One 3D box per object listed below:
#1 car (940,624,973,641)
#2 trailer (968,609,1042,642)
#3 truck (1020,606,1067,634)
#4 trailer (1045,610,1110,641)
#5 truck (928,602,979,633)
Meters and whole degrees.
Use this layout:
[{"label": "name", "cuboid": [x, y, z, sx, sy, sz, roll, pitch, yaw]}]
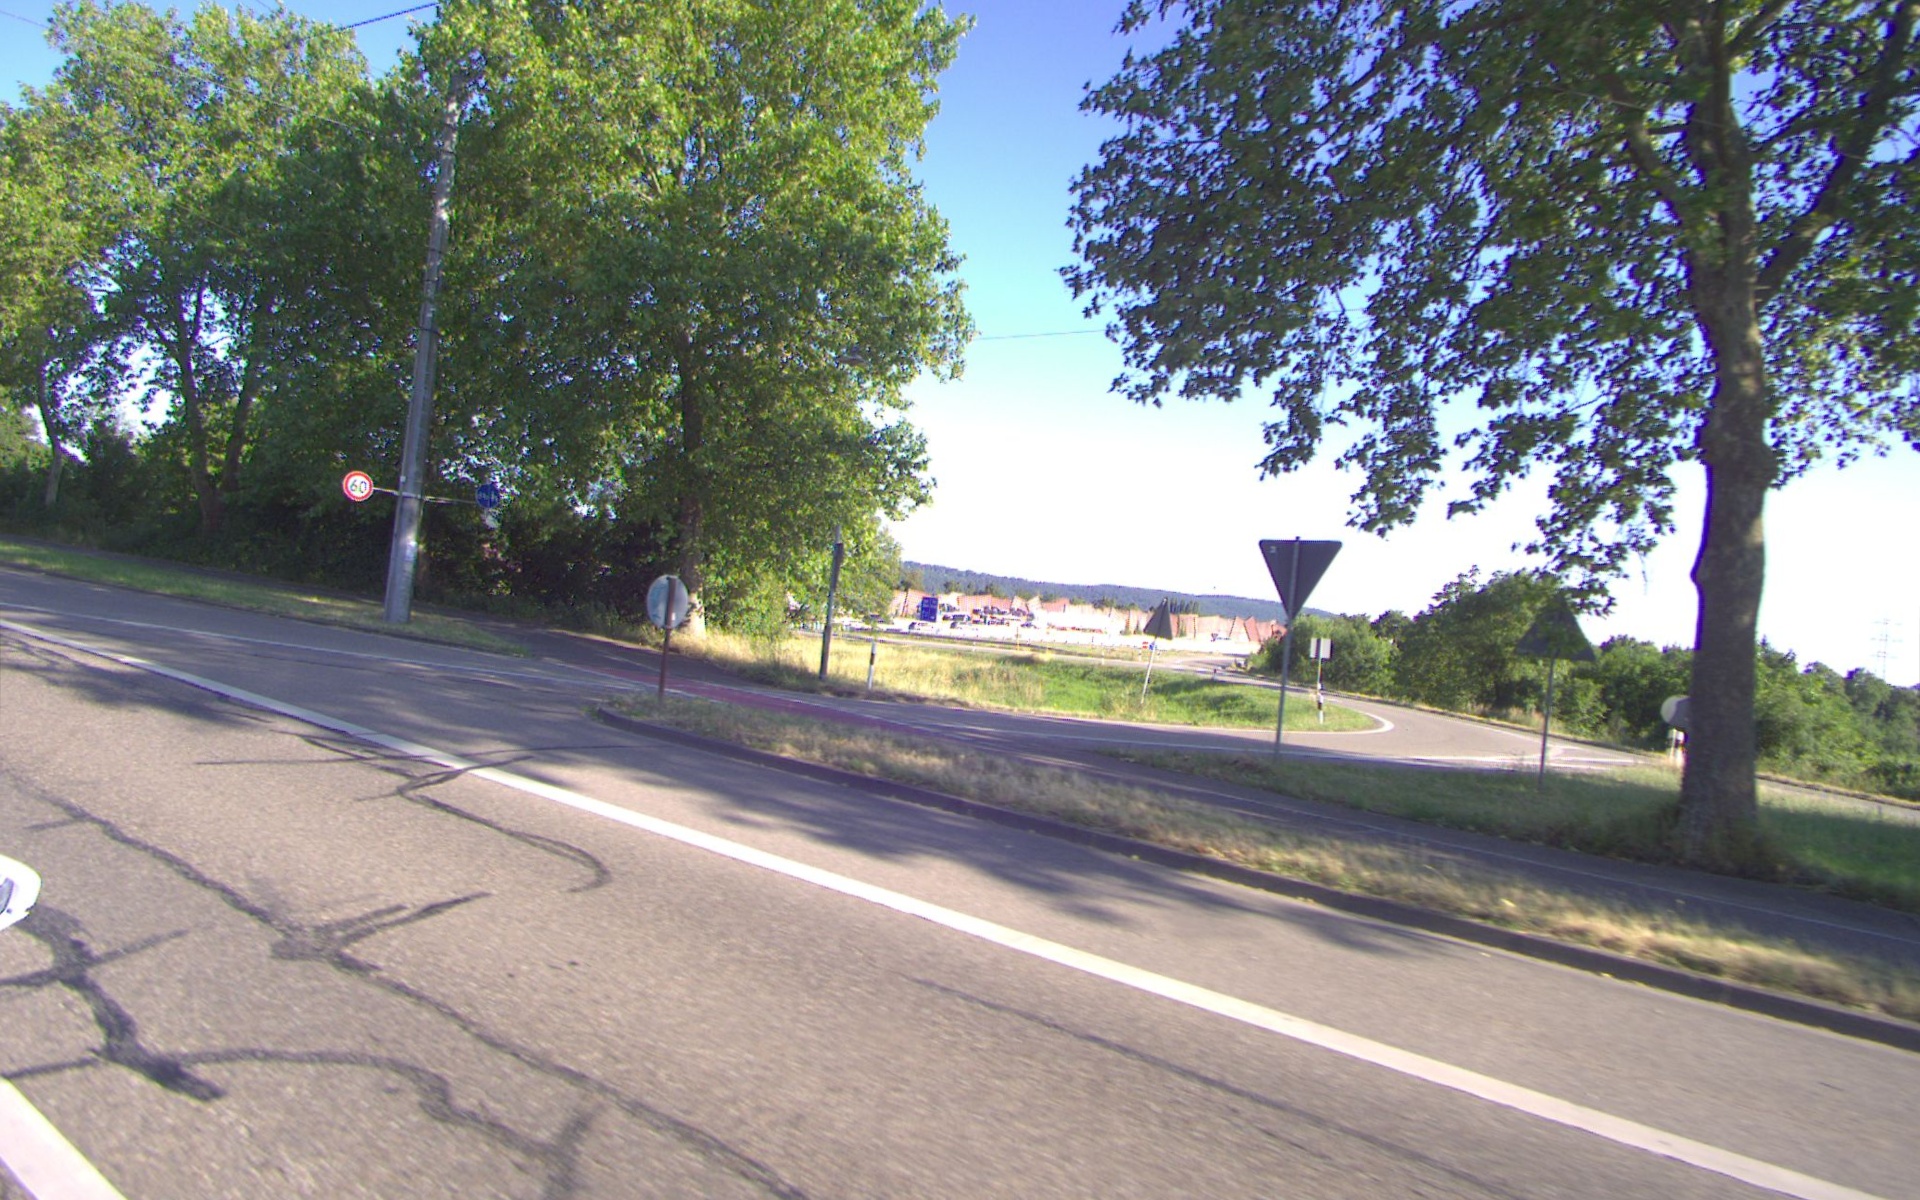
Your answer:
[{"label": "car", "cuboid": [-0.505, 4.670, 144.569, 4.360, 1.769, 1.752, 9, -3, -29]}, {"label": "trailer", "cuboid": [7.454, 4.228, 166.182, 11.935, 3.882, 3.112, 9, -2, -28]}, {"label": "truck", "cuboid": [14.532, 3.491, 174.293, 7.257, 3.882, 3.114, 9, -2, -27]}, {"label": "trailer", "cuboid": [20.784, 4.509, 177.624, 11.270, 3.882, 3.114, 9, -2, -27]}, {"label": "truck", "cuboid": [-1.051, 2.826, 161.518, 7.261, 3.882, 3.113, 9, -2, -28]}]
